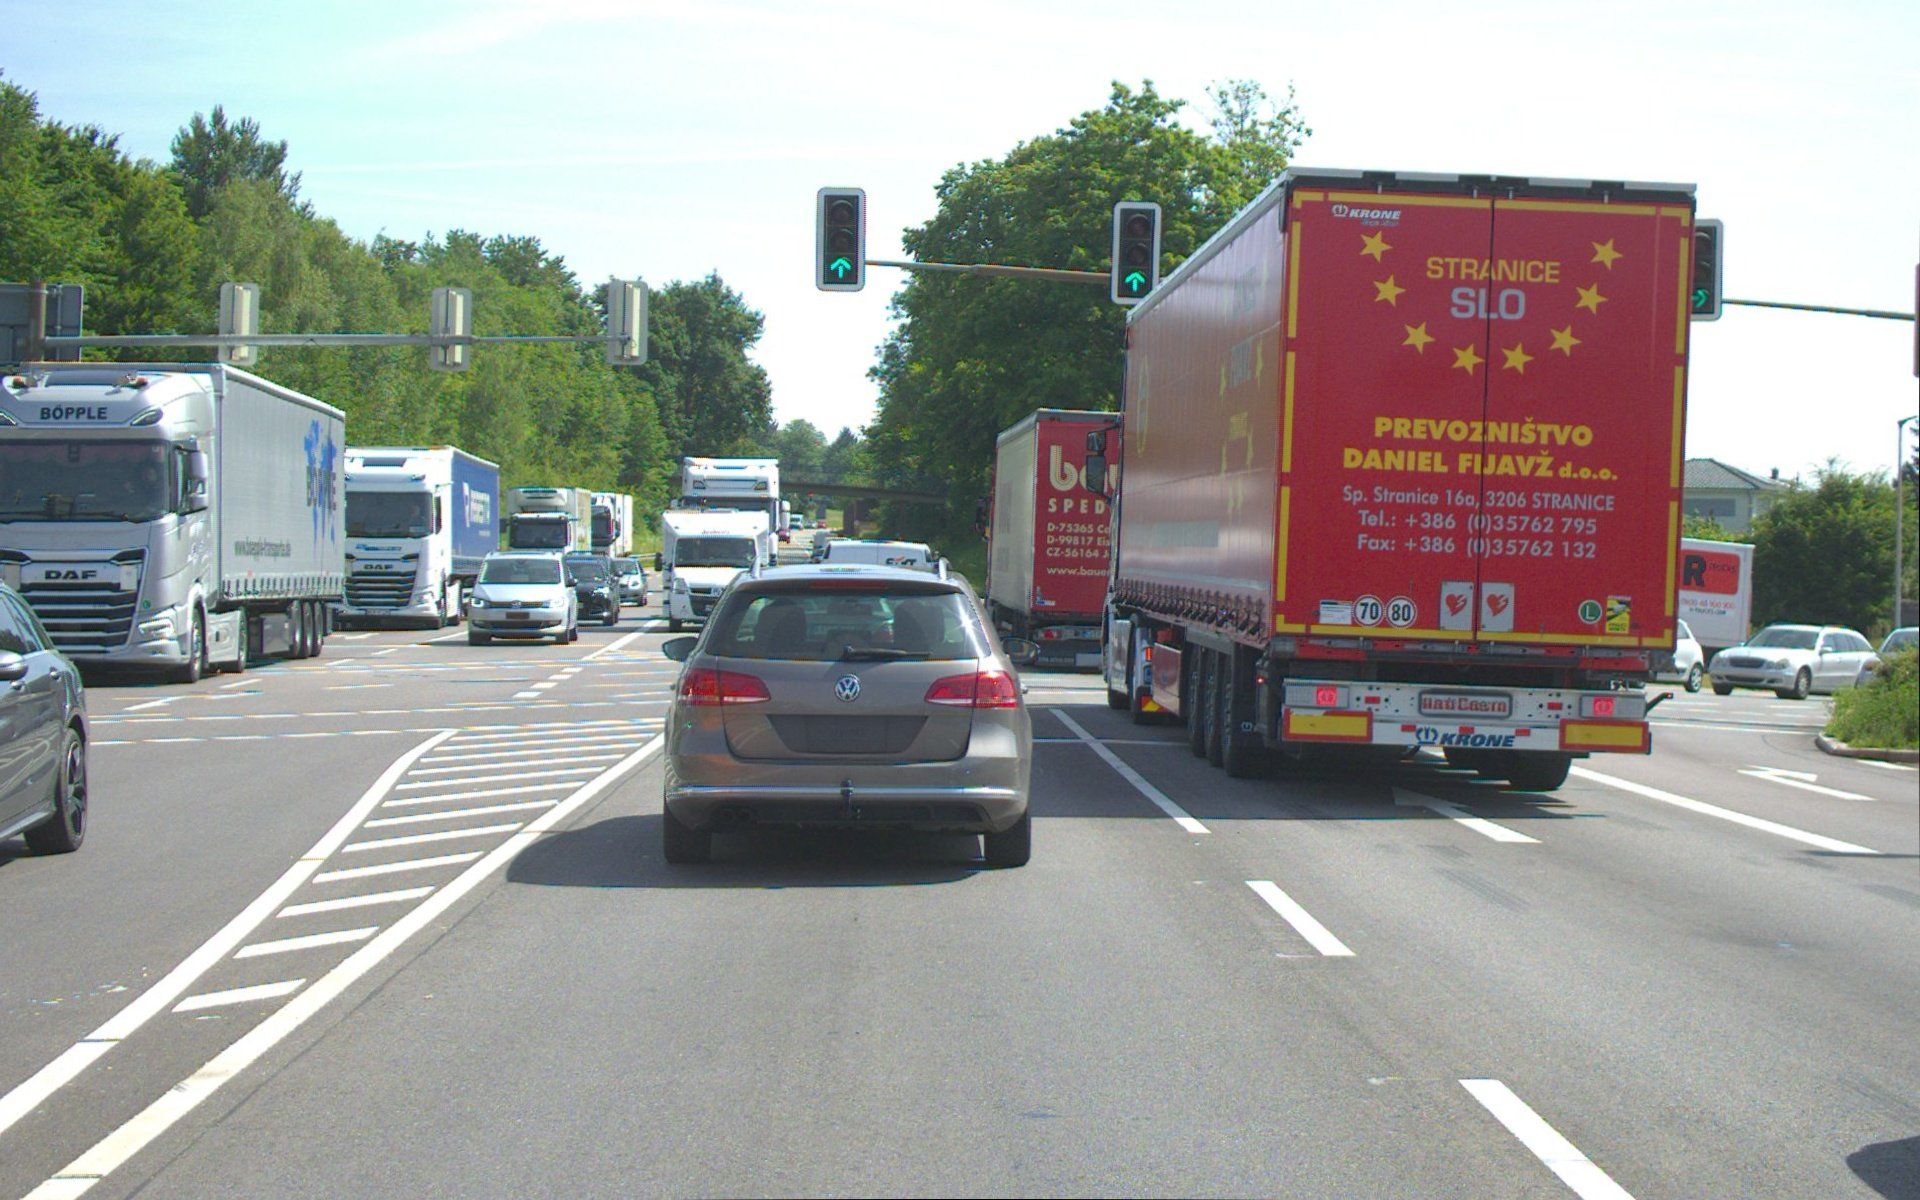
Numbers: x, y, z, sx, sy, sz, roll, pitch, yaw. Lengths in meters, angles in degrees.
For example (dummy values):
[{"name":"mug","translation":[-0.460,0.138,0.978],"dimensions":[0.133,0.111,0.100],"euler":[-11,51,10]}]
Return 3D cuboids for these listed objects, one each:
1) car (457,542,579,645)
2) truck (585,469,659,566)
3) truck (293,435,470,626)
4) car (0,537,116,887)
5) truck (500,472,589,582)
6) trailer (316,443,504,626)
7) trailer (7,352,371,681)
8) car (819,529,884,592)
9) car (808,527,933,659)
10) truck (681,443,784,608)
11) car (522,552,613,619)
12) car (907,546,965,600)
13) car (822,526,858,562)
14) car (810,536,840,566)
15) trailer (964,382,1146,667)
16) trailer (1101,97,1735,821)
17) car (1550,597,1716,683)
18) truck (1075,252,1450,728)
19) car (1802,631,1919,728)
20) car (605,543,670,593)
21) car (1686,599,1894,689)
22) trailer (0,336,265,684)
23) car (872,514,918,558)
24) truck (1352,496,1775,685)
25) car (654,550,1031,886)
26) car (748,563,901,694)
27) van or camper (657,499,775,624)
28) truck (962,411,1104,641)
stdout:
[{"name":"car","translation":[-8.082,-0.155,63.186],"dimensions":[1.843,1.726,4.589],"euler":[2,1,-3]},{"name":"truck","translation":[-14.675,-3.538,149.693],"dimensions":[2.829,4.102,9.684],"euler":[0,1,-4]},{"name":"truck","translation":[-12.838,-1.529,76.780],"dimensions":[3.187,4.066,6.347],"euler":[0,1,-3]},{"name":"car","translation":[-5.431,0.524,16.365],"dimensions":[1.921,1.597,4.589],"euler":[-1,1,-3]},{"name":"truck","translation":[-15.625,-2.720,129.747],"dimensions":[2.728,3.985,9.621],"euler":[0,1,-3]},{"name":"trailer","translation":[-13.224,-1.544,83.862],"dimensions":[3.093,4.066,14.129],"euler":[0,1,-3]},{"name":"trailer","translation":[-10.928,-1.140,50.345],"dimensions":[2.691,4.133,13.881],"euler":[0,1,-2]},{"name":"car","translation":[-3.563,-1.293,112.209],"dimensions":[1.993,2.007,4.001],"euler":[0,1,-3]},{"name":"car","translation":[-1.405,-0.134,52.539],"dimensions":[1.770,1.930,3.978],"euler":[0,1,-3]},{"name":"truck","translation":[-5.879,-1.890,88.608],"dimensions":[2.536,4.074,6.267],"euler":[0,1,-4]},{"name":"car","translation":[-9.041,-0.358,79.491],"dimensions":[1.993,1.480,4.455],"euler":[0,1,-6]},{"name":"car","translation":[-0.943,-1.050,130.976],"dimensions":[1.993,2.007,4.001],"euler":[0,1,-3]},{"name":"car","translation":[-6.894,-3.211,197.257],"dimensions":[1.993,2.007,4.001],"euler":[0,1,-3]},{"name":"car","translation":[-9.272,-3.387,236.574],"dimensions":[1.993,2.007,4.001],"euler":[0,1,-3]},{"name":"trailer","translation":[1.419,-1.204,57.680],"dimensions":[2.395,4.229,13.079],"euler":[0,1,-1]},{"name":"trailer","translation":[3.099,-0.951,27.816],"dimensions":[2.839,4.350,13.168],"euler":[2,1,-2]},{"name":"car","translation":[13.573,0.817,69.206],"dimensions":[1.709,1.499,3.747],"euler":[3,-1,38]},{"name":"truck","translation":[2.885,-1.046,34.573],"dimensions":[2.870,4.266,5.839],"euler":[2,1,-2]},{"name":"car","translation":[16.864,1.446,62.191],"dimensions":[1.997,1.570,3.993],"euler":[4,1,31]},{"name":"car","translation":[-9.923,-0.983,106.024],"dimensions":[1.725,1.497,4.000],"euler":[0,1,-1]},{"name":"car","translation":[16.357,0.886,67.567],"dimensions":[1.998,1.500,4.988],"euler":[3,0,38]},{"name":"trailer","translation":[-10.684,-1.102,43.613],"dimensions":[2.645,4.091,6.181],"euler":[0,1,-2]},{"name":"car","translation":[-3.043,-2.959,160.374],"dimensions":[1.993,2.007,4.001],"euler":[0,1,-3]},{"name":"truck","translation":[14.605,-0.216,83.130],"dimensions":[9.667,3.616,2.768],"euler":[6,-1,-19]},{"name":"car","translation":[-0.644,0.510,17.507],"dimensions":[1.691,1.508,4.001],"euler":[0,1,-3]},{"name":"car","translation":[-1.691,0.307,41.929],"dimensions":[1.770,1.508,4.001],"euler":[0,1,-3]},{"name":"van or camper","translation":[-5.276,-0.842,75.094],"dimensions":[2.330,2.591,6.979],"euler":[0,1,-2]},{"name":"truck","translation":[1.309,-1.360,64.426],"dimensions":[2.406,4.113,5.521],"euler":[0,1,-1]}]
